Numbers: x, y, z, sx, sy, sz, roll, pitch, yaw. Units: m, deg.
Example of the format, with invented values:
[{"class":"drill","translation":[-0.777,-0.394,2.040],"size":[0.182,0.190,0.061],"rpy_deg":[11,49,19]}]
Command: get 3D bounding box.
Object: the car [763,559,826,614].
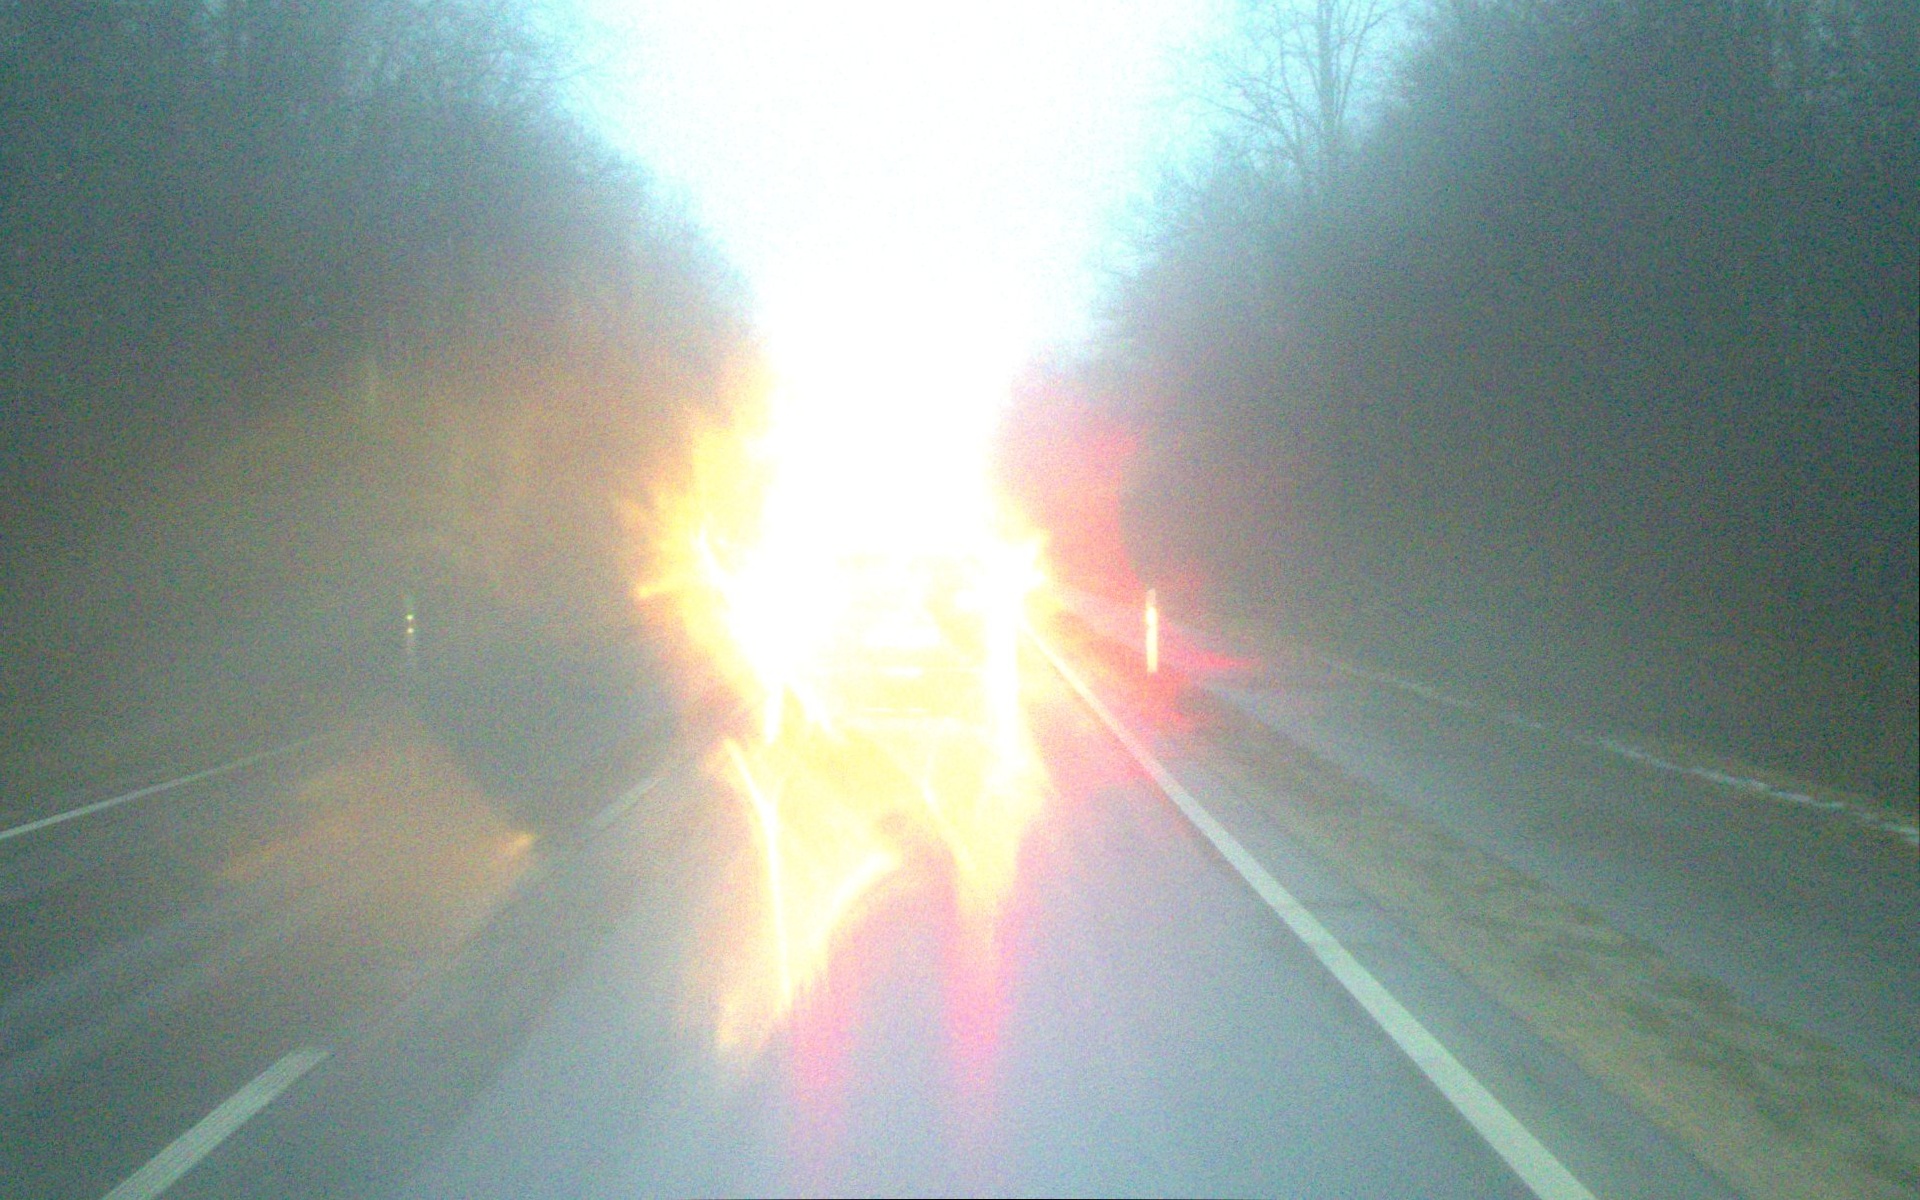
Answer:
[{"class":"car","translation":[-4.503,-0.379,93.790],"size":[1.513,1.409,3.661],"rpy_deg":[-1,1,0]}]
